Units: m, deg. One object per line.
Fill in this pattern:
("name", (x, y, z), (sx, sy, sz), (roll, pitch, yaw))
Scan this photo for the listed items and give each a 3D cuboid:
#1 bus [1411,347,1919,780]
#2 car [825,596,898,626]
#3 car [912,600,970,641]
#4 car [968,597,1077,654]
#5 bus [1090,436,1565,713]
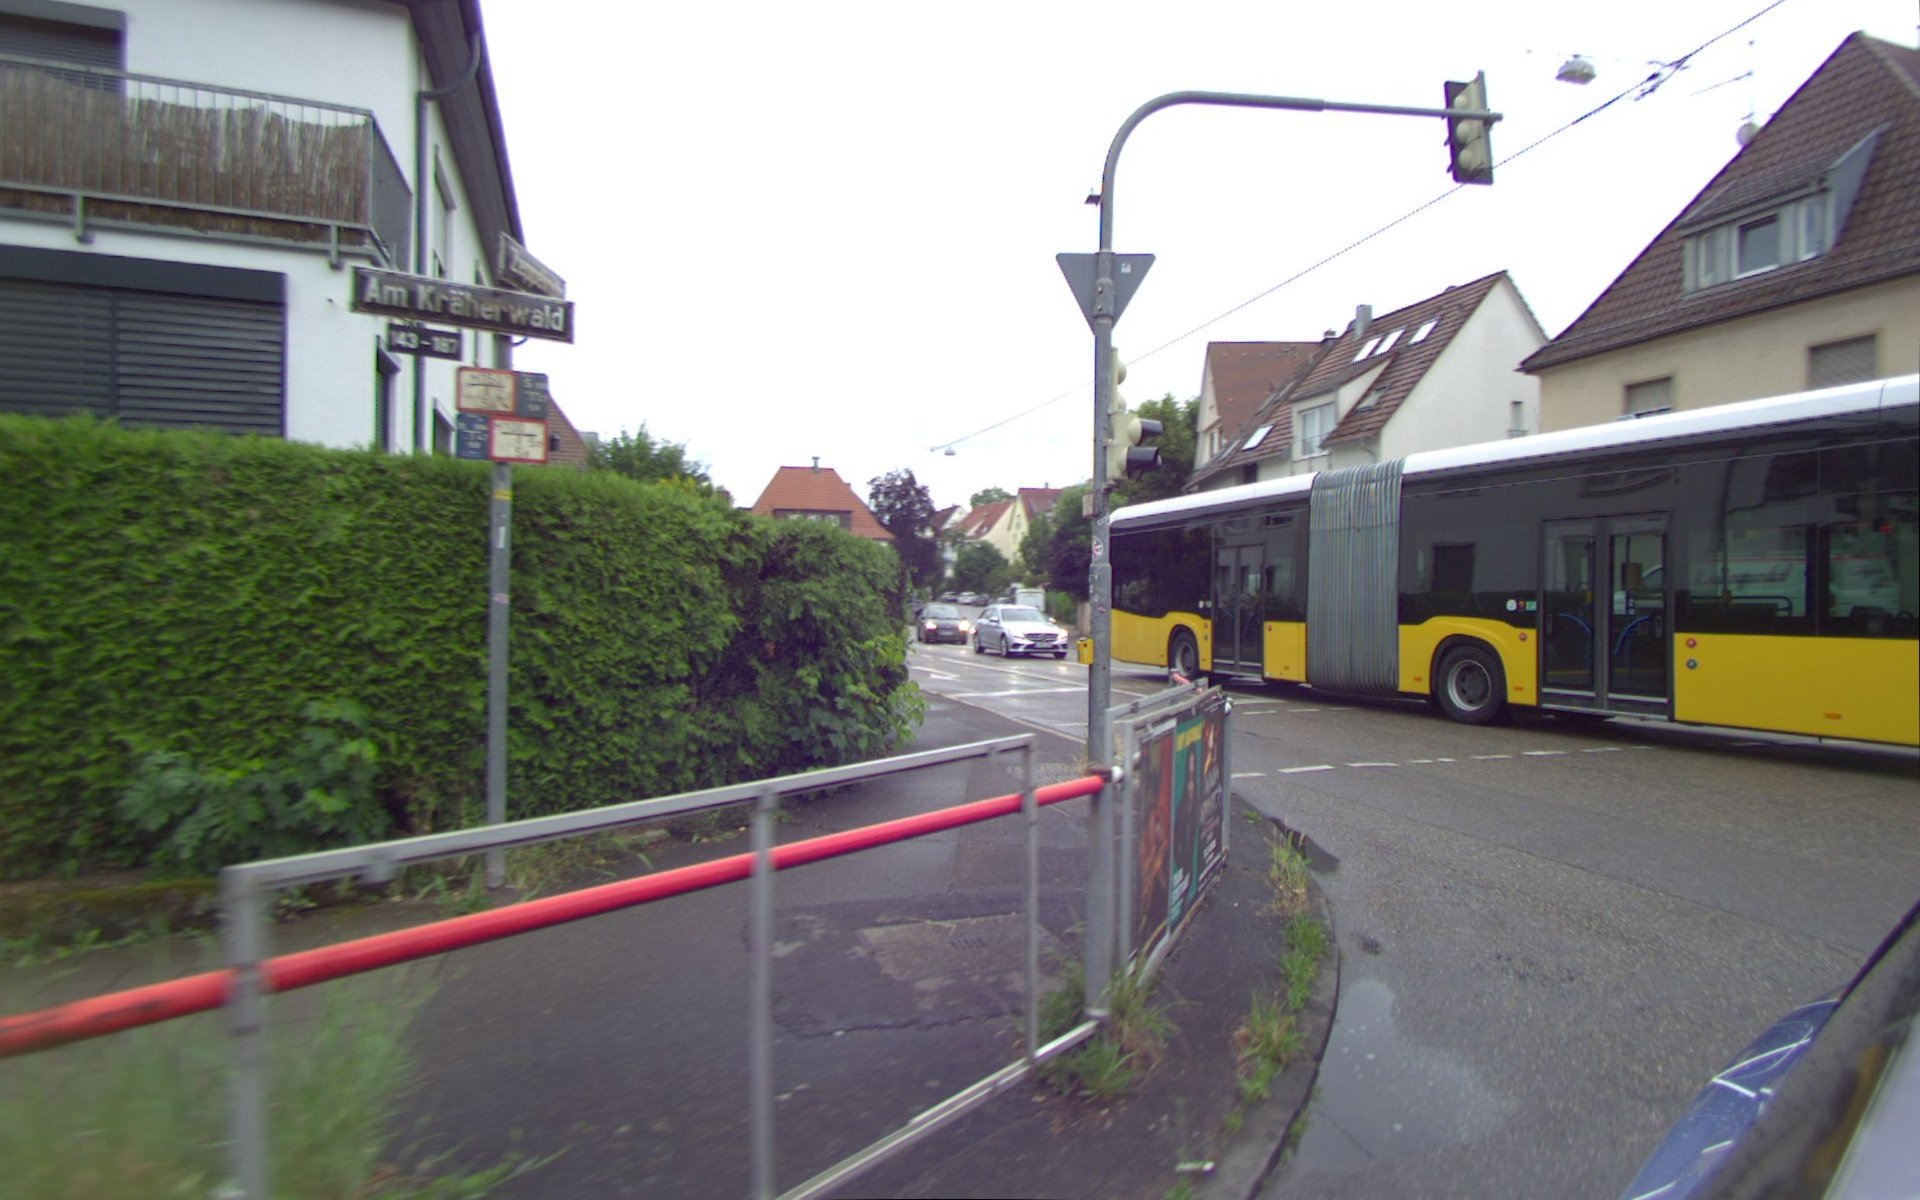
("bus", (8.734, -0.291, 9.037), (2.848, 3.441, 9.056), (0, 0, -23))
("car", (-6.788, 0.748, 70.329), (4.834, 1.972, 1.939), (0, 1, 4))
("car", (-0.777, 0.783, 39.274), (1.697, 1.498, 4.046), (0, -1, -9))
("car", (1.674, 0.705, 28.967), (1.958, 1.498, 4.493), (0, -1, -12))
("bus", (5.365, -0.308, 17.148), (2.629, 3.441, 8.697), (0, 0, -19))
